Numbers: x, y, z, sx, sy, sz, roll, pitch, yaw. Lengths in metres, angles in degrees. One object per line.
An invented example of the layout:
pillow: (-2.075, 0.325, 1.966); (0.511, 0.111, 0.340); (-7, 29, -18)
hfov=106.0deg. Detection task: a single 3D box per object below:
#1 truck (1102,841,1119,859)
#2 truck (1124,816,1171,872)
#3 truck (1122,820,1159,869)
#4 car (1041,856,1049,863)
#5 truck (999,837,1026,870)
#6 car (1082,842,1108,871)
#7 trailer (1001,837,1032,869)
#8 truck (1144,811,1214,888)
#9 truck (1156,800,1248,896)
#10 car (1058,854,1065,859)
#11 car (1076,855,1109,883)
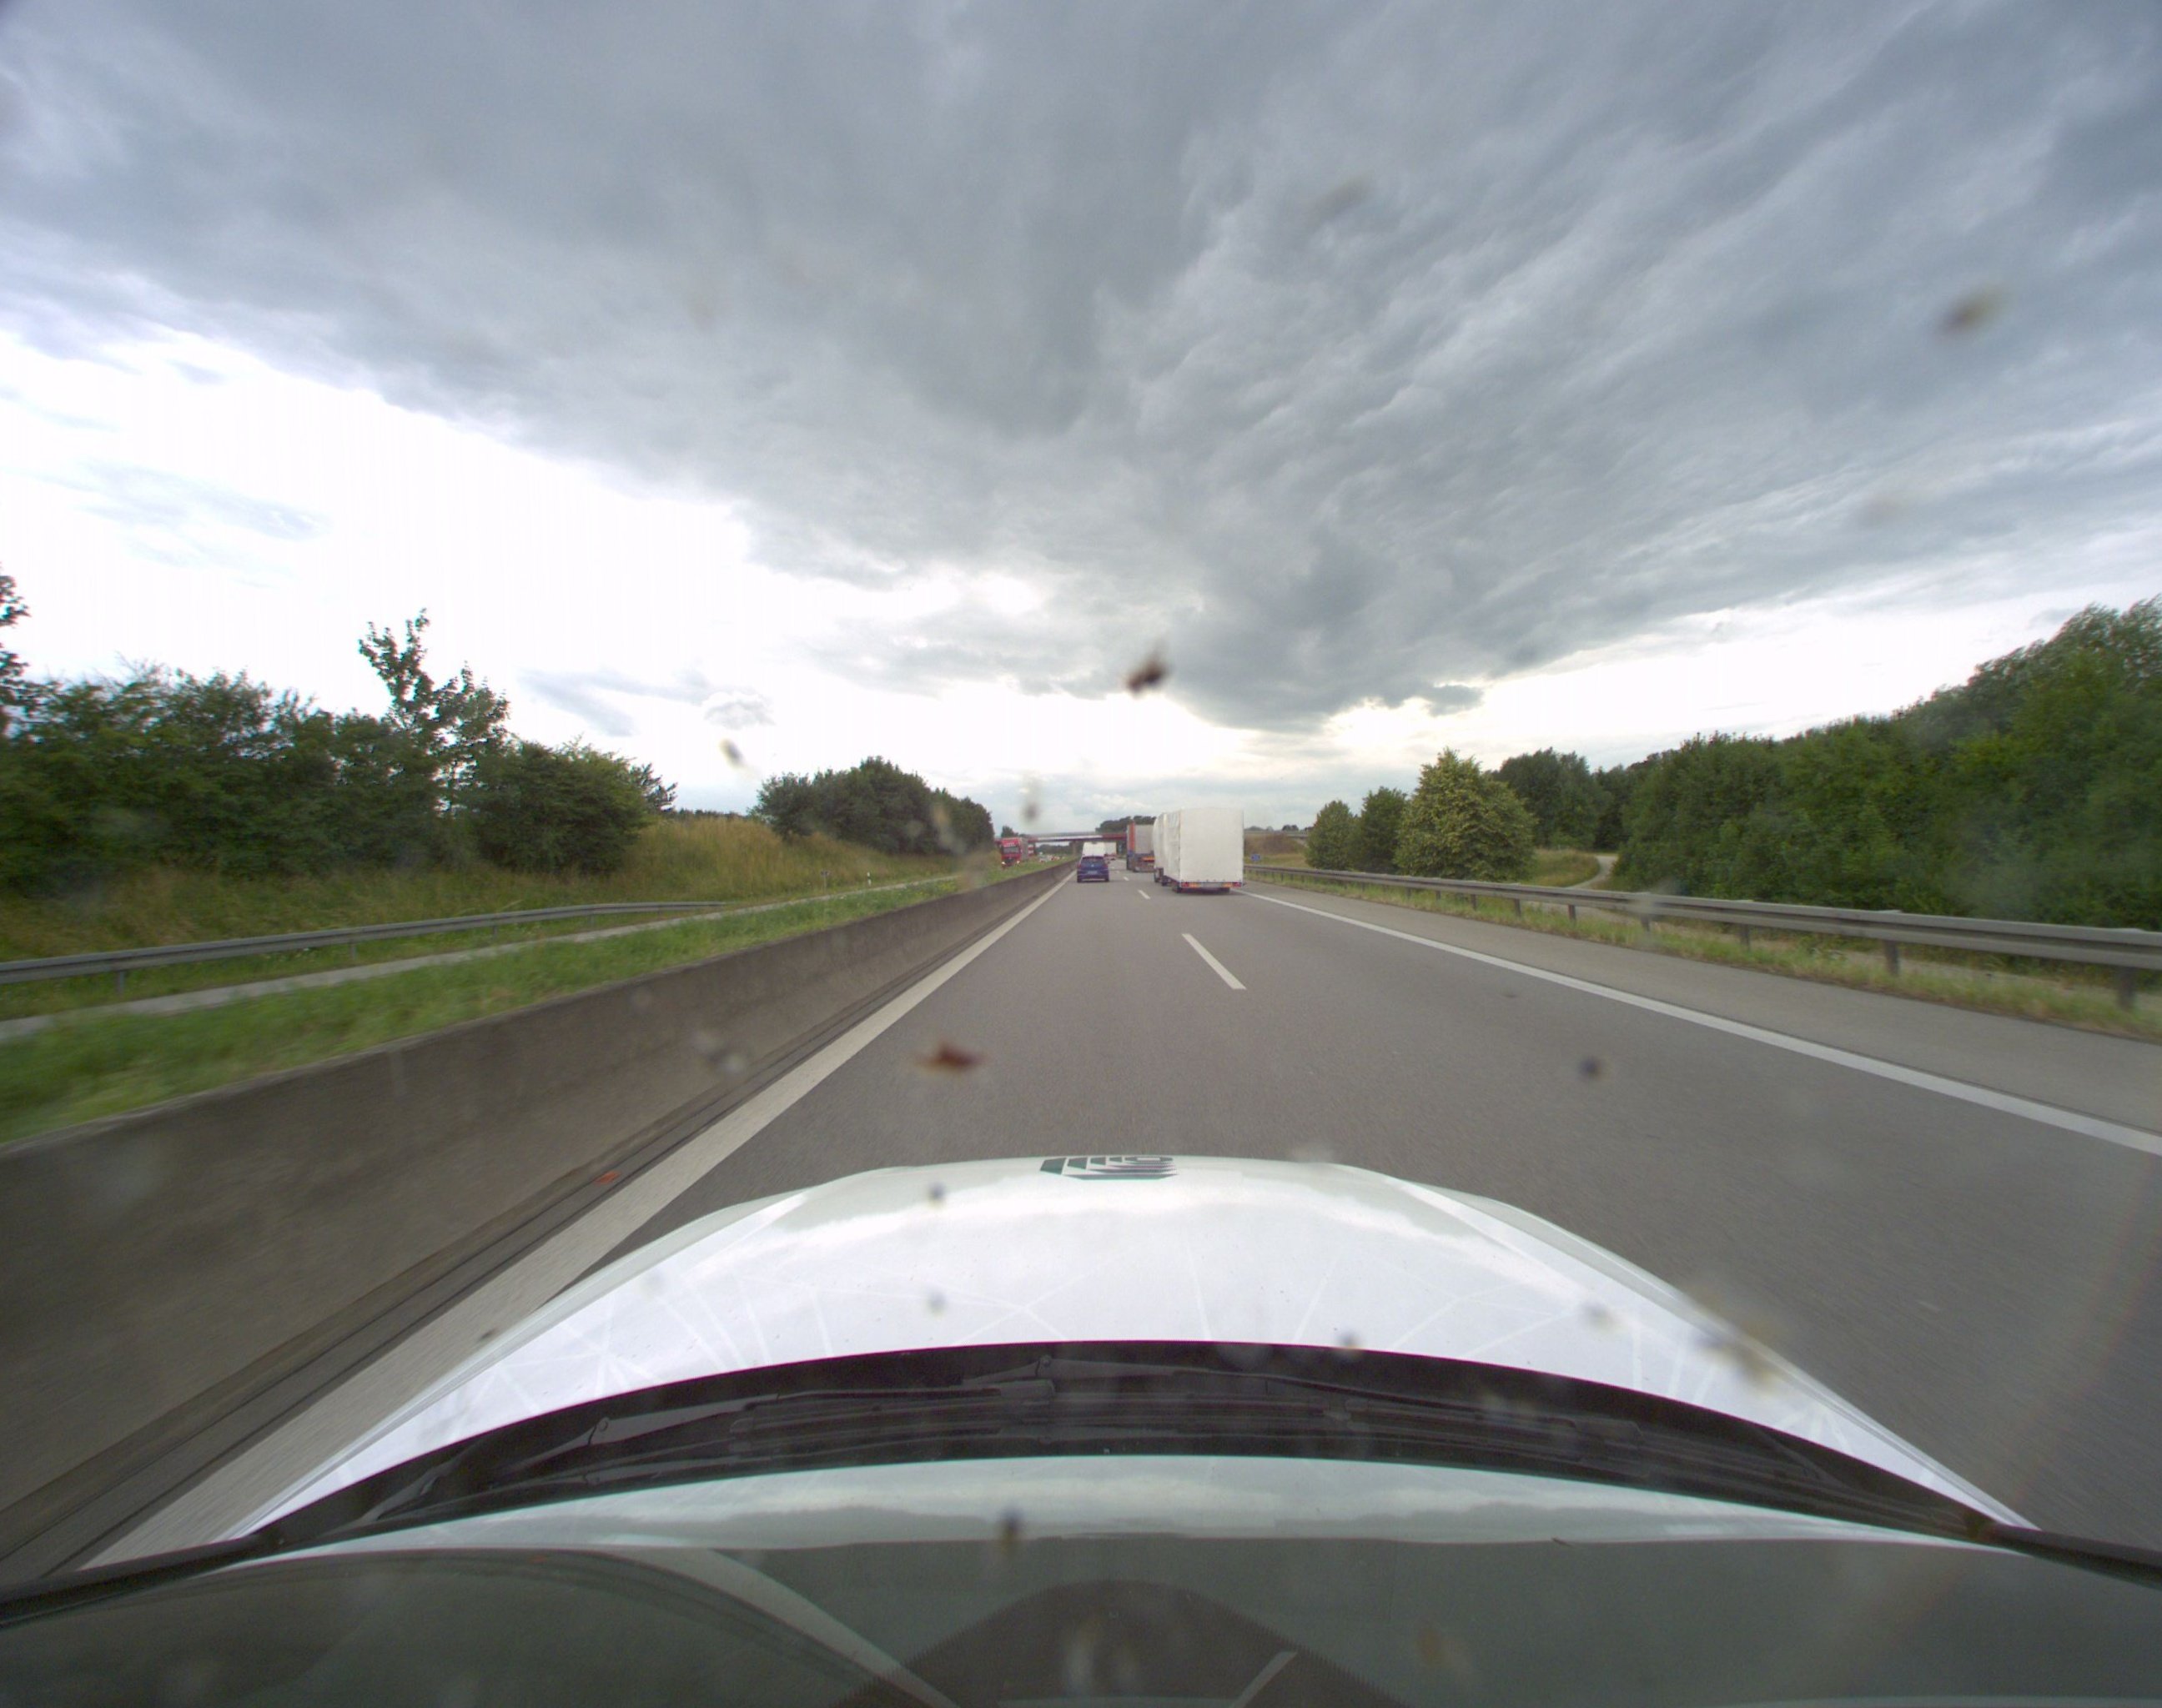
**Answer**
truck: (6.521, -0.937, 179.868); (3.102, 3.689, 9.318); (-4, 0, -1)
truck: (5.268, -0.809, 66.287); (2.665, 4.045, 11.104); (-2, 0, -1)
truck: (5.213, -0.855, 71.717); (2.665, 4.045, 5.510); (-2, 0, -1)
car: (-8.369, 1.308, 189.683); (1.641, 1.409, 3.886); (-4, 0, -1)
truck: (-8.971, -0.125, 107.357); (2.697, 4.088, 5.165); (-4, 0, 1)
car: (1.234, 0.217, 72.940); (2.123, 2.482, 5.839); (-2, 0, 0)
trailer: (-8.904, -0.178, 114.285); (2.697, 4.088, 14.599); (-4, 0, 1)
truck: (4.480, -0.202, 38.612); (2.422, 3.243, 7.246); (-1, 0, 0)
truck: (4.469, -0.199, 31.413); (2.407, 3.222, 7.142); (-1, 0, 0)
car: (-5.816, 0.875, 245.371); (1.842, 1.378, 4.600); (-4, 0, 0)
car: (0.633, 0.773, 43.933); (1.658, 1.407, 3.649); (-1, 0, 1)
